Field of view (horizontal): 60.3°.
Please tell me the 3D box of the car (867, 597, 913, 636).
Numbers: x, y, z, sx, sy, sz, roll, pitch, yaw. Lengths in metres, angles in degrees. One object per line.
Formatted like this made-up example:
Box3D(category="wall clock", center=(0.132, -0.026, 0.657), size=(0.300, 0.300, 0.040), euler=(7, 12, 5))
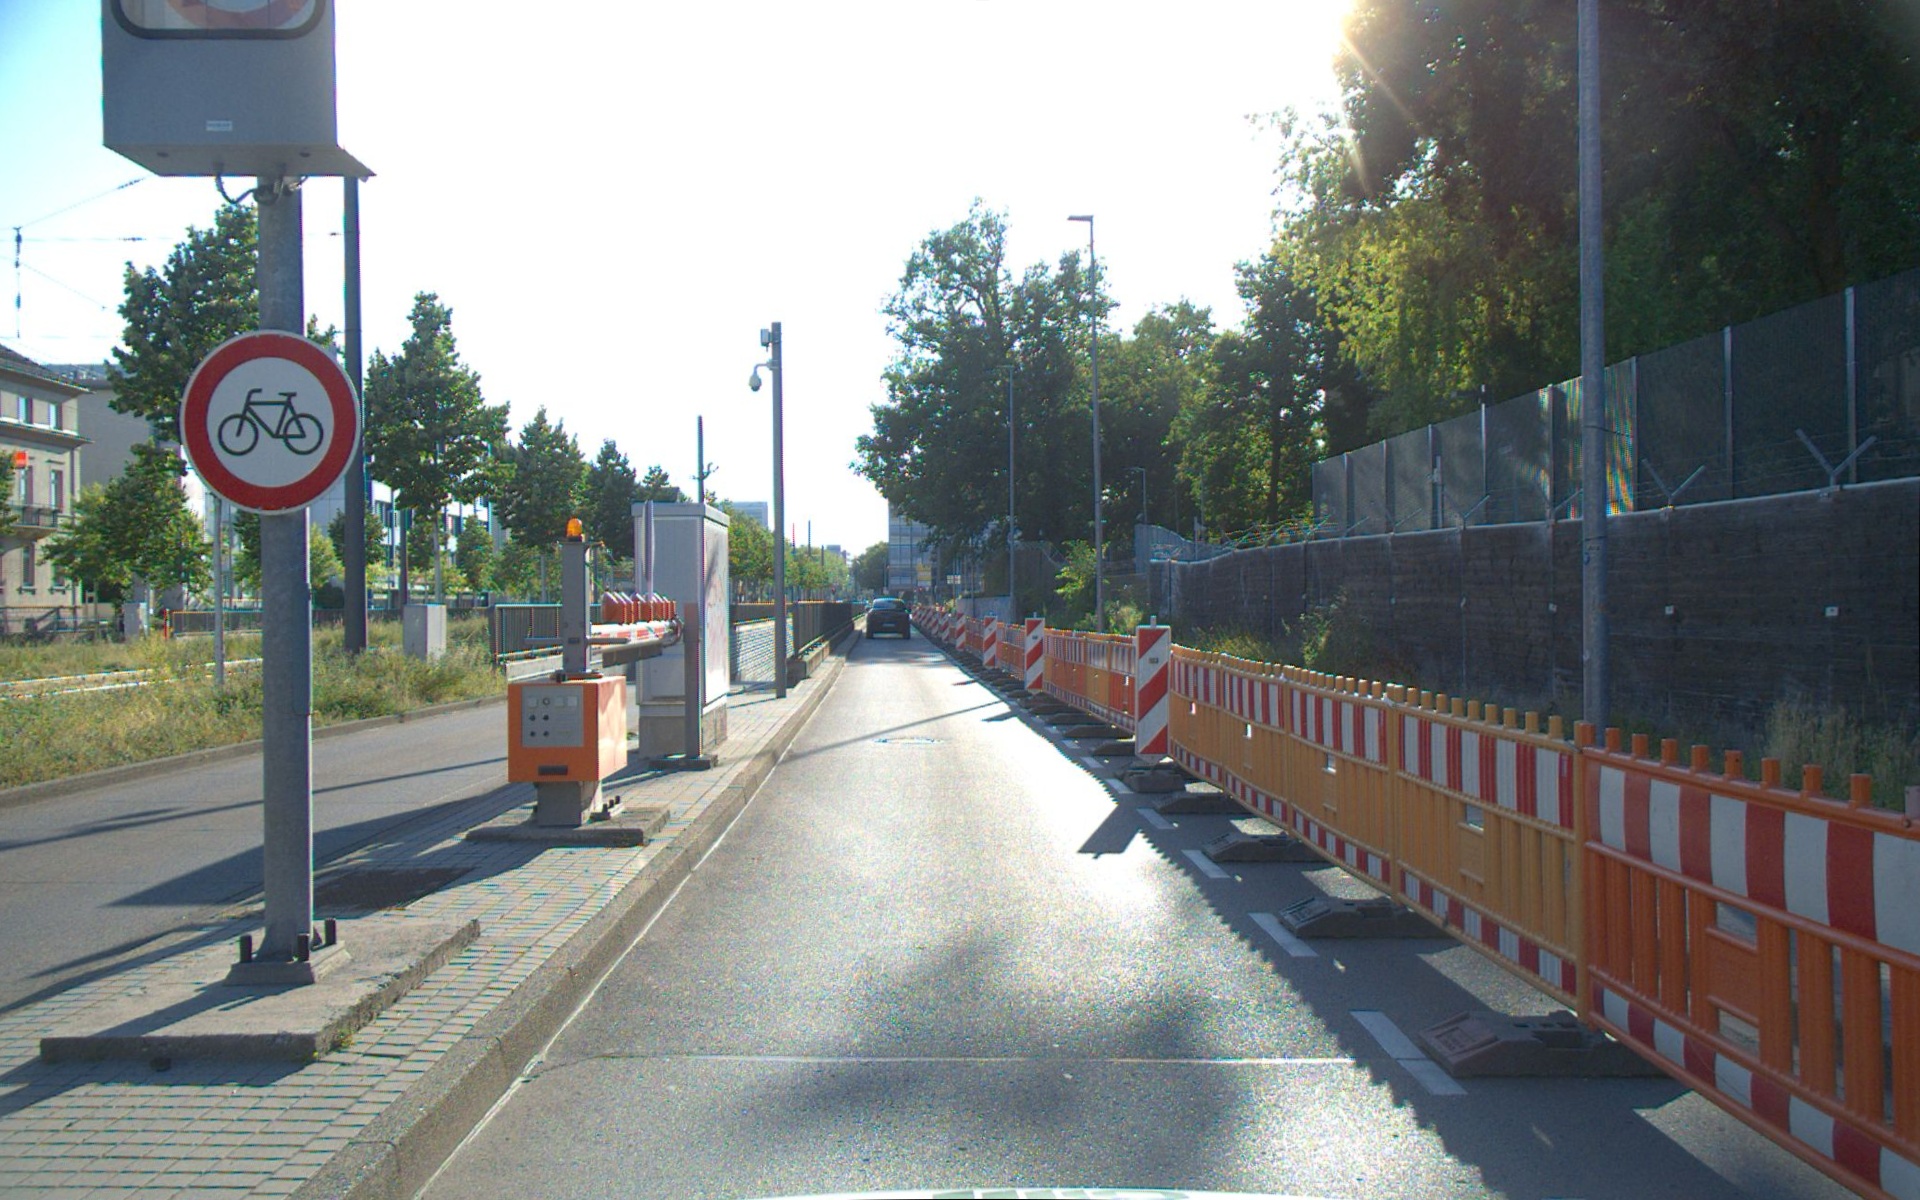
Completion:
Box3D(category="car", center=(-3.141, 0.746, 74.591), size=(1.965, 1.688, 3.998), euler=(1, -1, -2))
